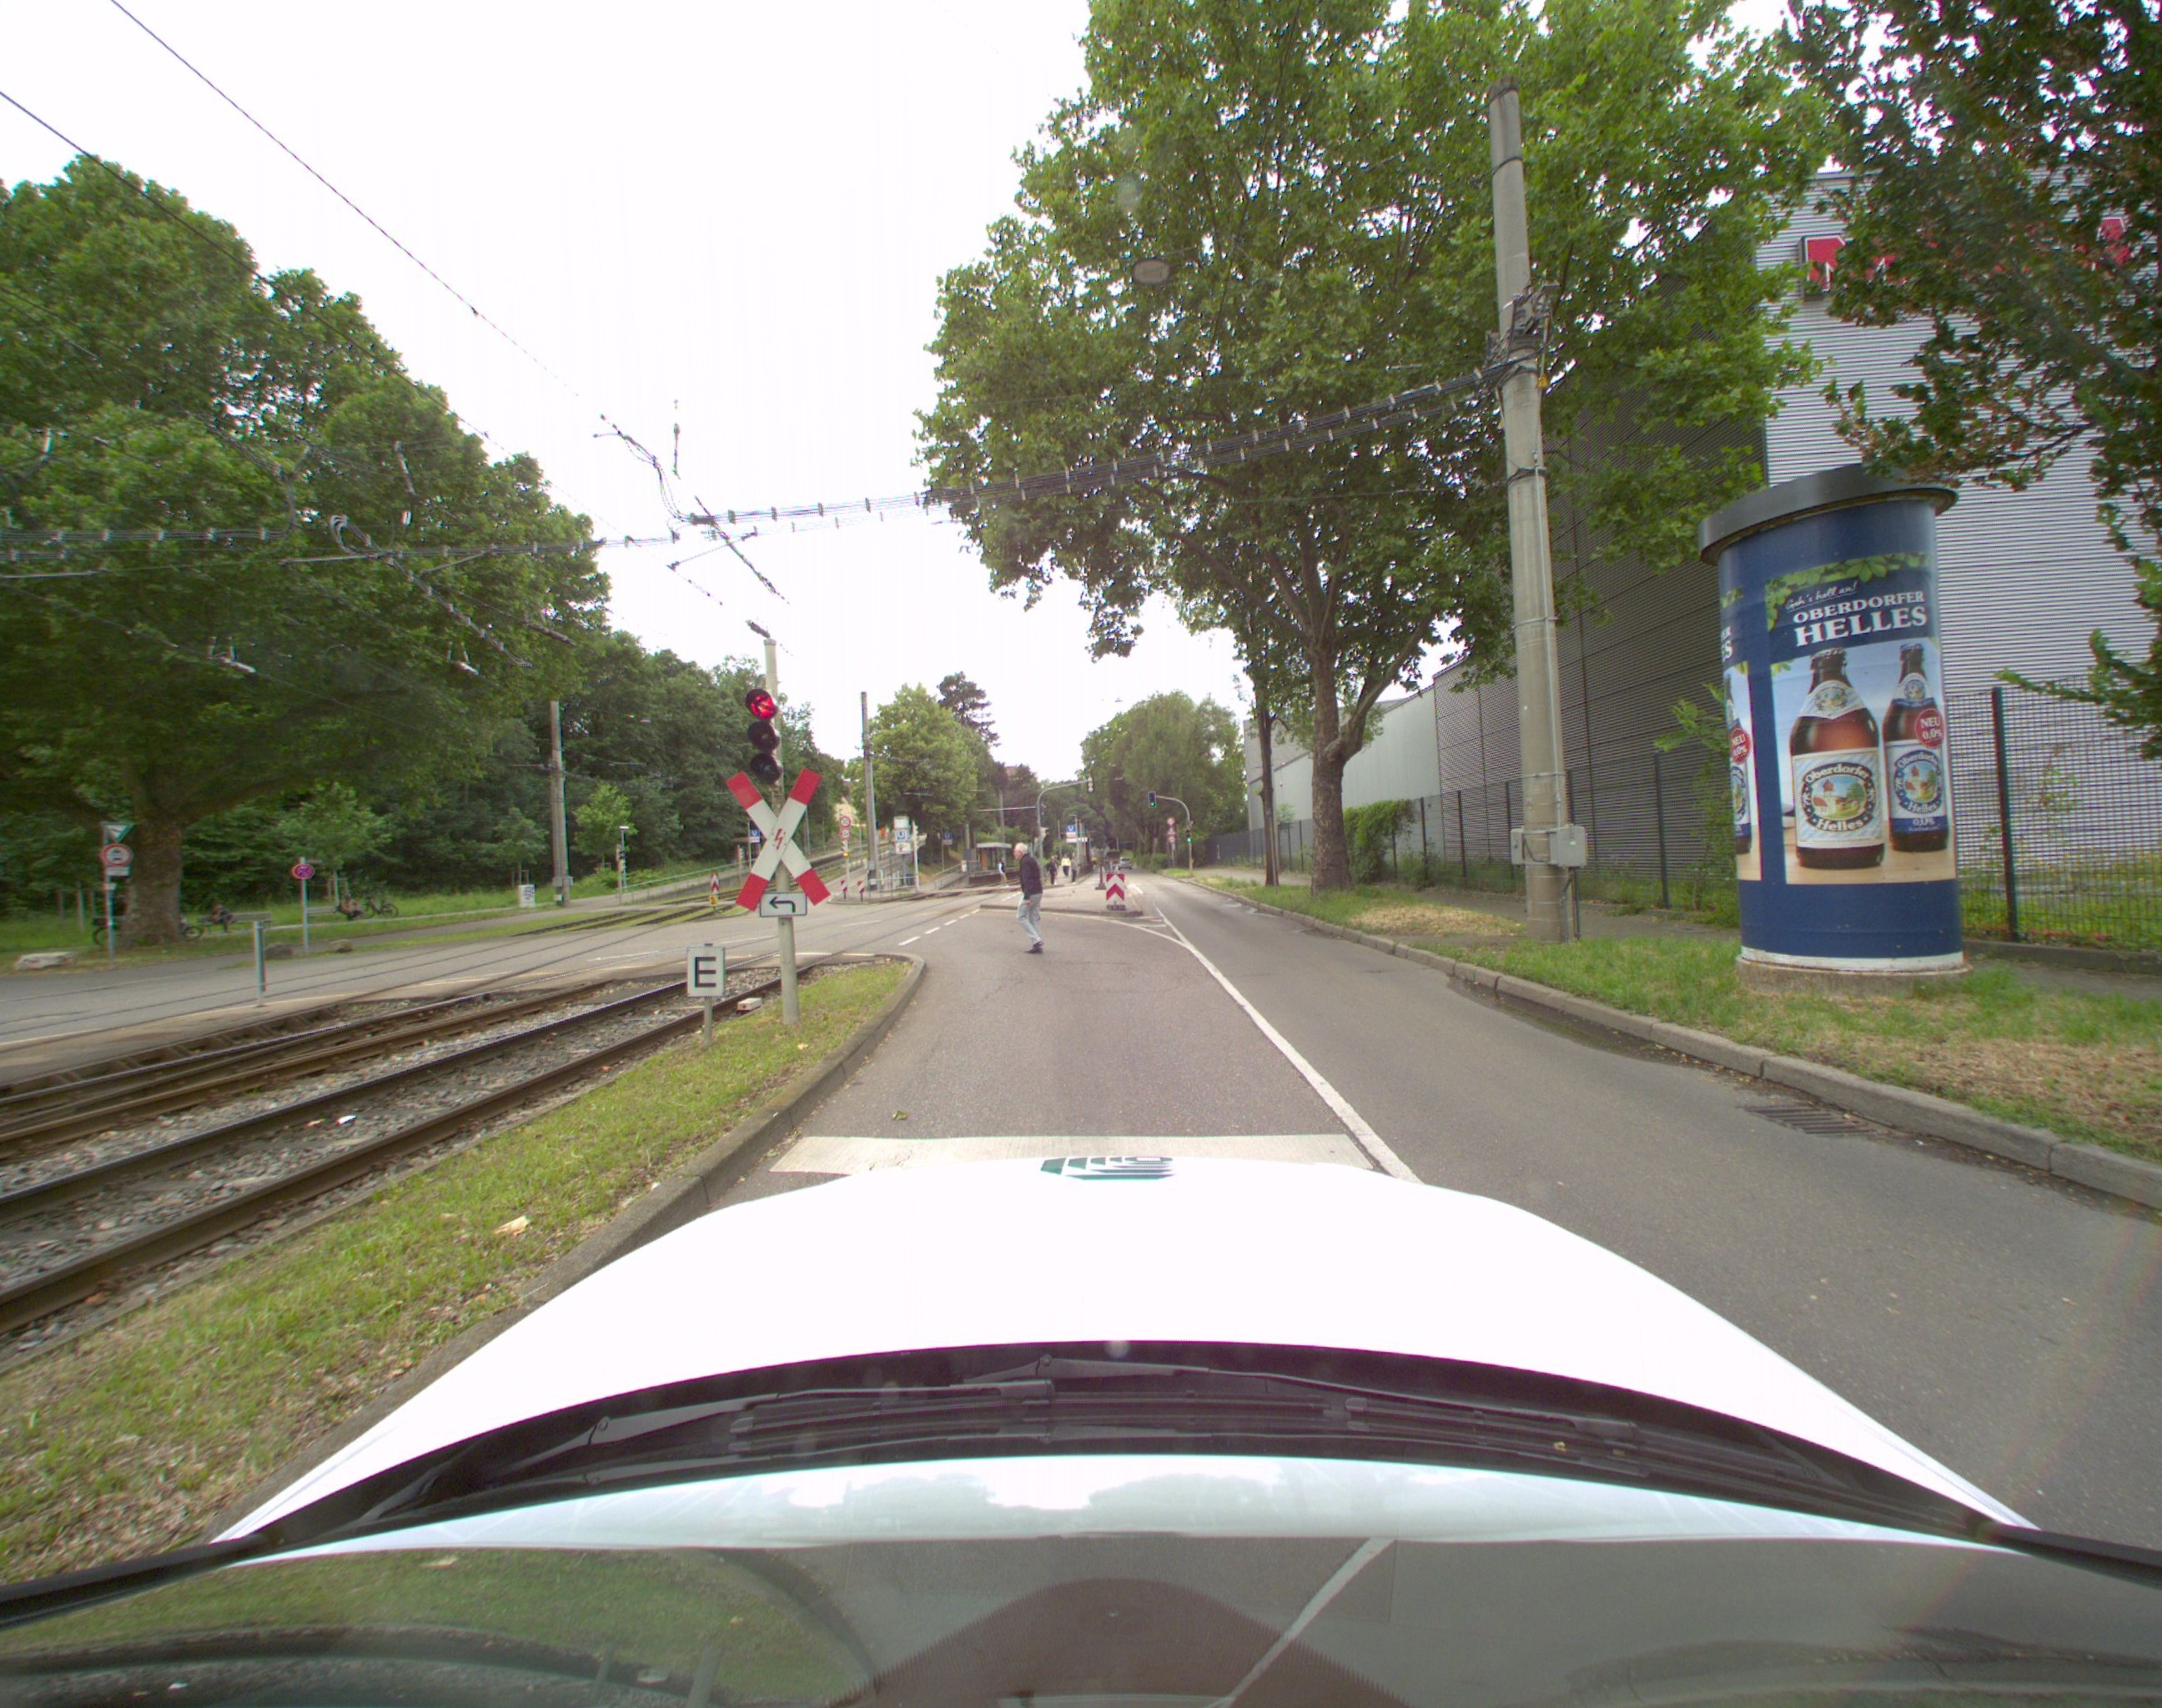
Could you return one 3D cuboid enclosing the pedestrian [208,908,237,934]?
[{"bbox_3d":[-35.233,2.752,33.419,0.526,0.989,0.623,-1,-1,17],"label":"pedestrian"}]

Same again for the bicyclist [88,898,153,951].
[{"bbox_3d":[-34.429,2.501,29.213,0.726,1.711,1.300,1,3,27],"label":"bicyclist"}]

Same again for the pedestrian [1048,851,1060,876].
[{"bbox_3d":[-1.780,0.659,54.430,0.735,1.665,0.679,0,-1,-9],"label":"pedestrian"}]

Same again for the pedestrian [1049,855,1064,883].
[{"bbox_3d":[-1.502,0.926,49.996,0.674,1.665,0.741,-1,-1,17],"label":"pedestrian"}]

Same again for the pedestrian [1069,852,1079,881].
[{"bbox_3d":[-0.451,0.774,50.954,0.547,1.758,0.739,0,-1,6],"label":"pedestrian"}]

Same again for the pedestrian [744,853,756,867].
[{"bbox_3d":[-30.732,0.551,75.603,0.771,1.326,0.785,0,2,-6],"label":"pedestrian"}]

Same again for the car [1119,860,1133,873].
[{"bbox_3d":[5.782,1.586,105.731,1.737,1.598,4.002,-1,0,2],"label":"car"}]

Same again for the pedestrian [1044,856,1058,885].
[{"bbox_3d":[-1.758,0.951,47.197,0.732,1.665,0.682,0,-1,3],"label":"pedestrian"}]

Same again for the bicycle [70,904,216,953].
[{"bbox_3d":[-34.161,2.687,29.765,0.726,1.289,3.368,1,4,28],"label":"bicycle"}]

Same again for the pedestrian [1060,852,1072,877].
[{"bbox_3d":[-0.999,0.691,55.317,0.735,1.665,0.679,0,-1,-9],"label":"pedestrian"}]

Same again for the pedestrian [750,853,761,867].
[{"bbox_3d":[-30.792,0.540,77.014,0.771,1.326,0.785,0,-1,-6],"label":"pedestrian"}]

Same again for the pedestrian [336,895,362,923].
[{"bbox_3d":[-33.495,2.506,37.248,0.574,1.235,0.676,-1,-1,15],"label":"pedestrian"}]

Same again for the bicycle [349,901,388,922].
[{"bbox_3d":[-33.428,2.692,38.193,1.726,0.885,0.625,-1,-1,21],"label":"bicycle"}]

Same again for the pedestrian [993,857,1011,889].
[{"bbox_3d":[-4.632,1.102,47.690,0.809,1.821,0.662,0,-1,-40],"label":"pedestrian"}]

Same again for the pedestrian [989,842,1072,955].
[{"bbox_3d":[-0.811,0.700,13.274,1.108,1.760,0.817,-1,-1,18],"label":"pedestrian"}]
